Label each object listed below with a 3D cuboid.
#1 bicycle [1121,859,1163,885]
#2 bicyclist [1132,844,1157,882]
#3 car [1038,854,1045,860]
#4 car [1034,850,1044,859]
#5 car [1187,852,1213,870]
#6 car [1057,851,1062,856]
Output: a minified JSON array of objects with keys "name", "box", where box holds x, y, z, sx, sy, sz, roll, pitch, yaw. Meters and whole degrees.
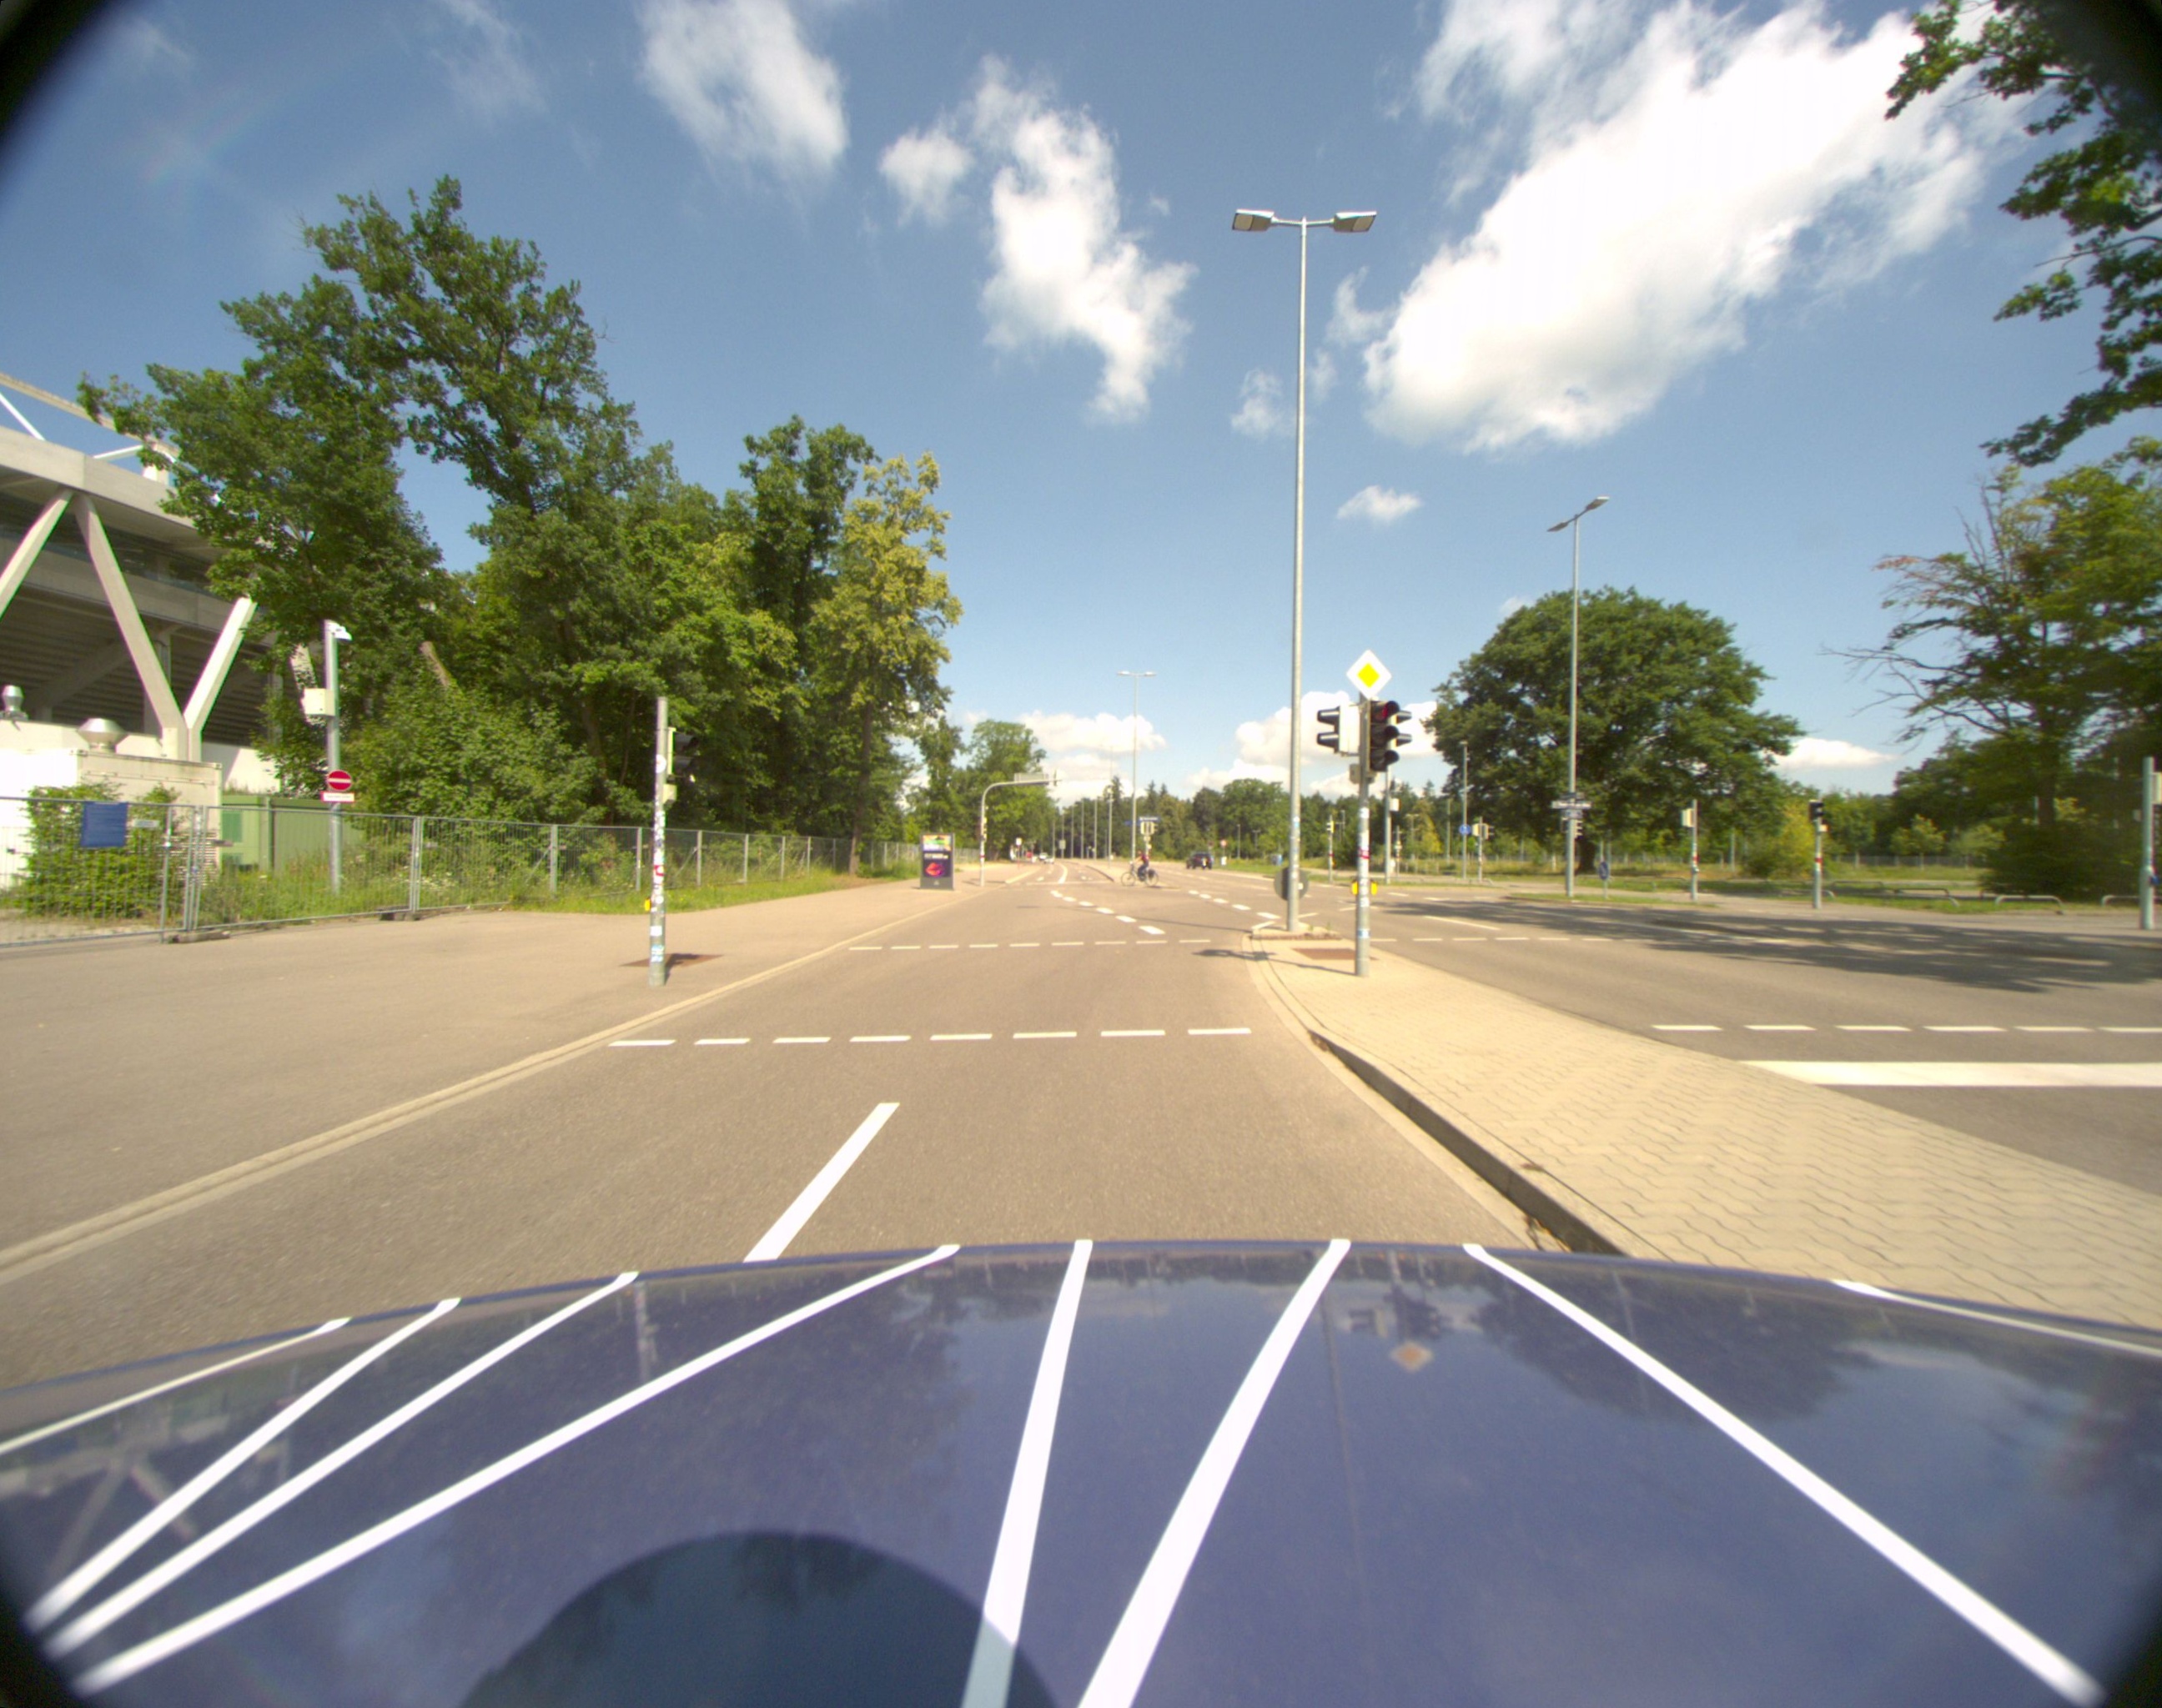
[{"name":"bicycle","box":[2.964,0.857,37.005,1.898,1.199,0.882,-1,1,-12]},{"name":"bicyclist","box":[3.071,0.428,36.990,0.979,1.787,0.886,-1,1,-12]},{"name":"car","box":[-9.372,0.650,182.270,1.580,1.471,3.569,-1,1,-2]},{"name":"car","box":[-6.905,0.027,125.452,1.580,1.471,3.569,-1,1,-2]},{"name":"car","box":[12.193,0.666,77.898,1.980,1.754,4.708,-1,0,1]},{"name":"car","box":[-6.292,-0.208,222.716,1.580,1.471,3.569,-1,1,-2]}]
